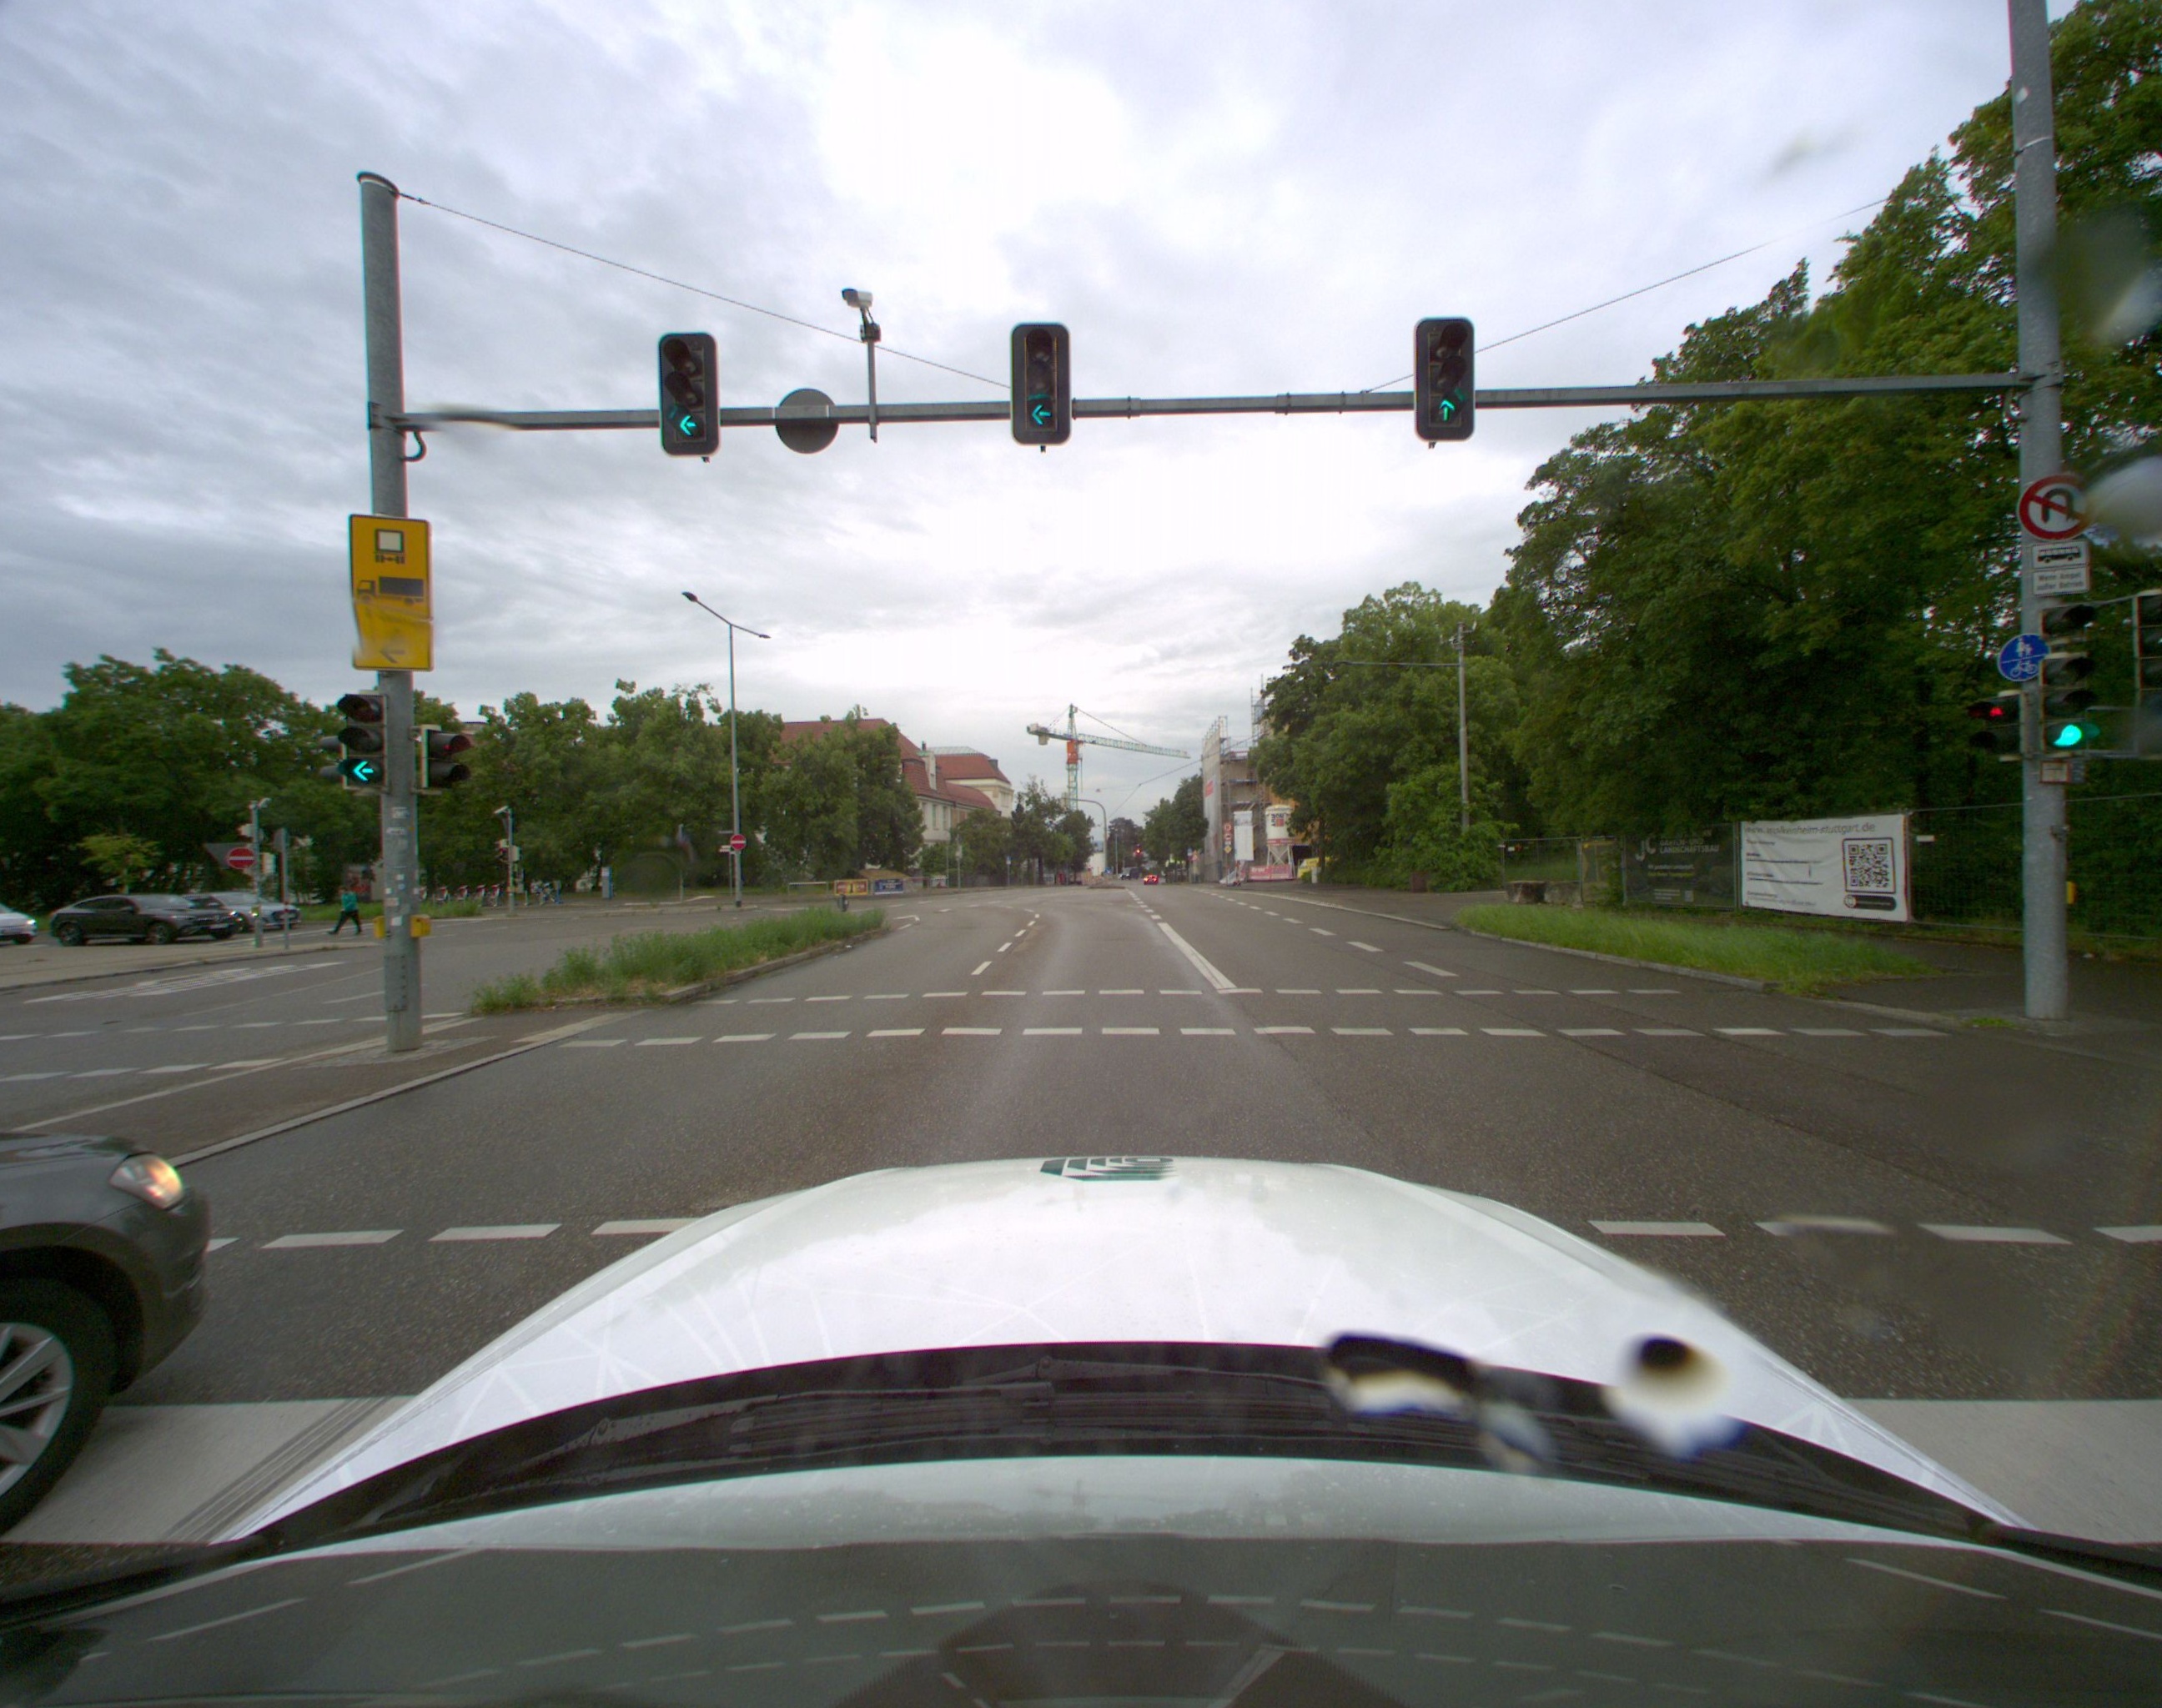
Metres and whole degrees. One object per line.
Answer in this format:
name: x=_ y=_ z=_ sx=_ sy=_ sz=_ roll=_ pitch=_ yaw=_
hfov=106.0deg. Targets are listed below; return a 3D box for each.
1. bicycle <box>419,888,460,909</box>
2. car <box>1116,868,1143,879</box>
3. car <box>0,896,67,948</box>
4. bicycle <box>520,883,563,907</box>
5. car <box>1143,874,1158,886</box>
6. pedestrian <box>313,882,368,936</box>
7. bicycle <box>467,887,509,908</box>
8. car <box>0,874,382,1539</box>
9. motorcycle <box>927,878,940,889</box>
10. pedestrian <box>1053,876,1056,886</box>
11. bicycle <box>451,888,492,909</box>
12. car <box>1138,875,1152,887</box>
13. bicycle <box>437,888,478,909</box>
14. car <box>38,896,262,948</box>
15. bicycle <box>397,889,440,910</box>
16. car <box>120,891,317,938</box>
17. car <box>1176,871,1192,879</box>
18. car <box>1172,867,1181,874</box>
bicycle: x=-34.951 y=2.429 z=44.402 sx=0.649 sy=1.071 sz=1.982 roll=-1 pitch=-1 yaw=2
car: x=10.583 y=4.172 z=176.715 sx=2.820 sy=2.403 sz=6.227 roll=-1 pitch=-1 yaw=36
car: x=-36.477 y=2.241 z=26.874 sx=3.539 sy=1.594 sz=2.001 roll=-1 pitch=-1 yaw=1
bicycle: x=-29.400 y=2.217 z=44.432 sx=0.987 sy=1.249 sz=1.982 roll=-1 pitch=-1 yaw=2
car: x=10.639 y=3.991 z=124.920 sx=1.986 sy=1.750 sz=4.001 roll=-2 pitch=-1 yaw=1
pedestrian: x=-24.277 y=1.795 z=26.716 sx=0.917 sy=1.727 sz=0.948 roll=-1 pitch=-1 yaw=9
bicycle: x=-32.233 y=2.349 z=44.326 sx=0.798 sy=1.071 sz=1.982 roll=-1 pitch=-1 yaw=2
car: x=-3.396 y=0.818 z=0.631 sx=1.809 sy=1.481 sz=4.378 roll=-2 pitch=-1 yaw=2
motorcycle: x=-11.790 y=2.376 z=65.090 sx=0.846 sy=0.877 sz=0.877 roll=-1 pitch=-1 yaw=1
pedestrian: x=-4.227 y=4.359 z=130.566 sx=0.491 sy=1.645 sz=0.534 roll=-1 pitch=-1 yaw=5
bicycle: x=-32.983 y=2.401 z=44.095 sx=0.649 sy=1.071 sz=1.982 roll=-1 pitch=-1 yaw=2
car: x=10.351 y=4.298 z=131.910 sx=1.986 sy=1.750 sz=4.001 roll=-2 pitch=-1 yaw=1
bicycle: x=-33.872 y=2.399 z=44.270 sx=0.649 sy=1.071 sz=1.982 roll=-1 pitch=-1 yaw=2
car: x=-30.057 y=2.175 z=26.404 sx=5.006 sy=1.500 sz=2.001 roll=-1 pitch=-1 yaw=1
bicycle: x=-35.928 y=2.466 z=44.188 sx=0.649 sy=1.071 sz=1.982 roll=-1 pitch=-1 yaw=2
car: x=-31.024 y=2.163 z=29.408 sx=5.006 sy=1.548 sz=2.001 roll=-1 pitch=-1 yaw=1
car: x=23.511 y=4.770 z=186.400 sx=1.974 sy=1.750 sz=4.026 roll=-2 pitch=-1 yaw=33
car: x=25.748 y=4.535 z=218.685 sx=1.980 sy=1.750 sz=4.014 roll=-2 pitch=-1 yaw=13
